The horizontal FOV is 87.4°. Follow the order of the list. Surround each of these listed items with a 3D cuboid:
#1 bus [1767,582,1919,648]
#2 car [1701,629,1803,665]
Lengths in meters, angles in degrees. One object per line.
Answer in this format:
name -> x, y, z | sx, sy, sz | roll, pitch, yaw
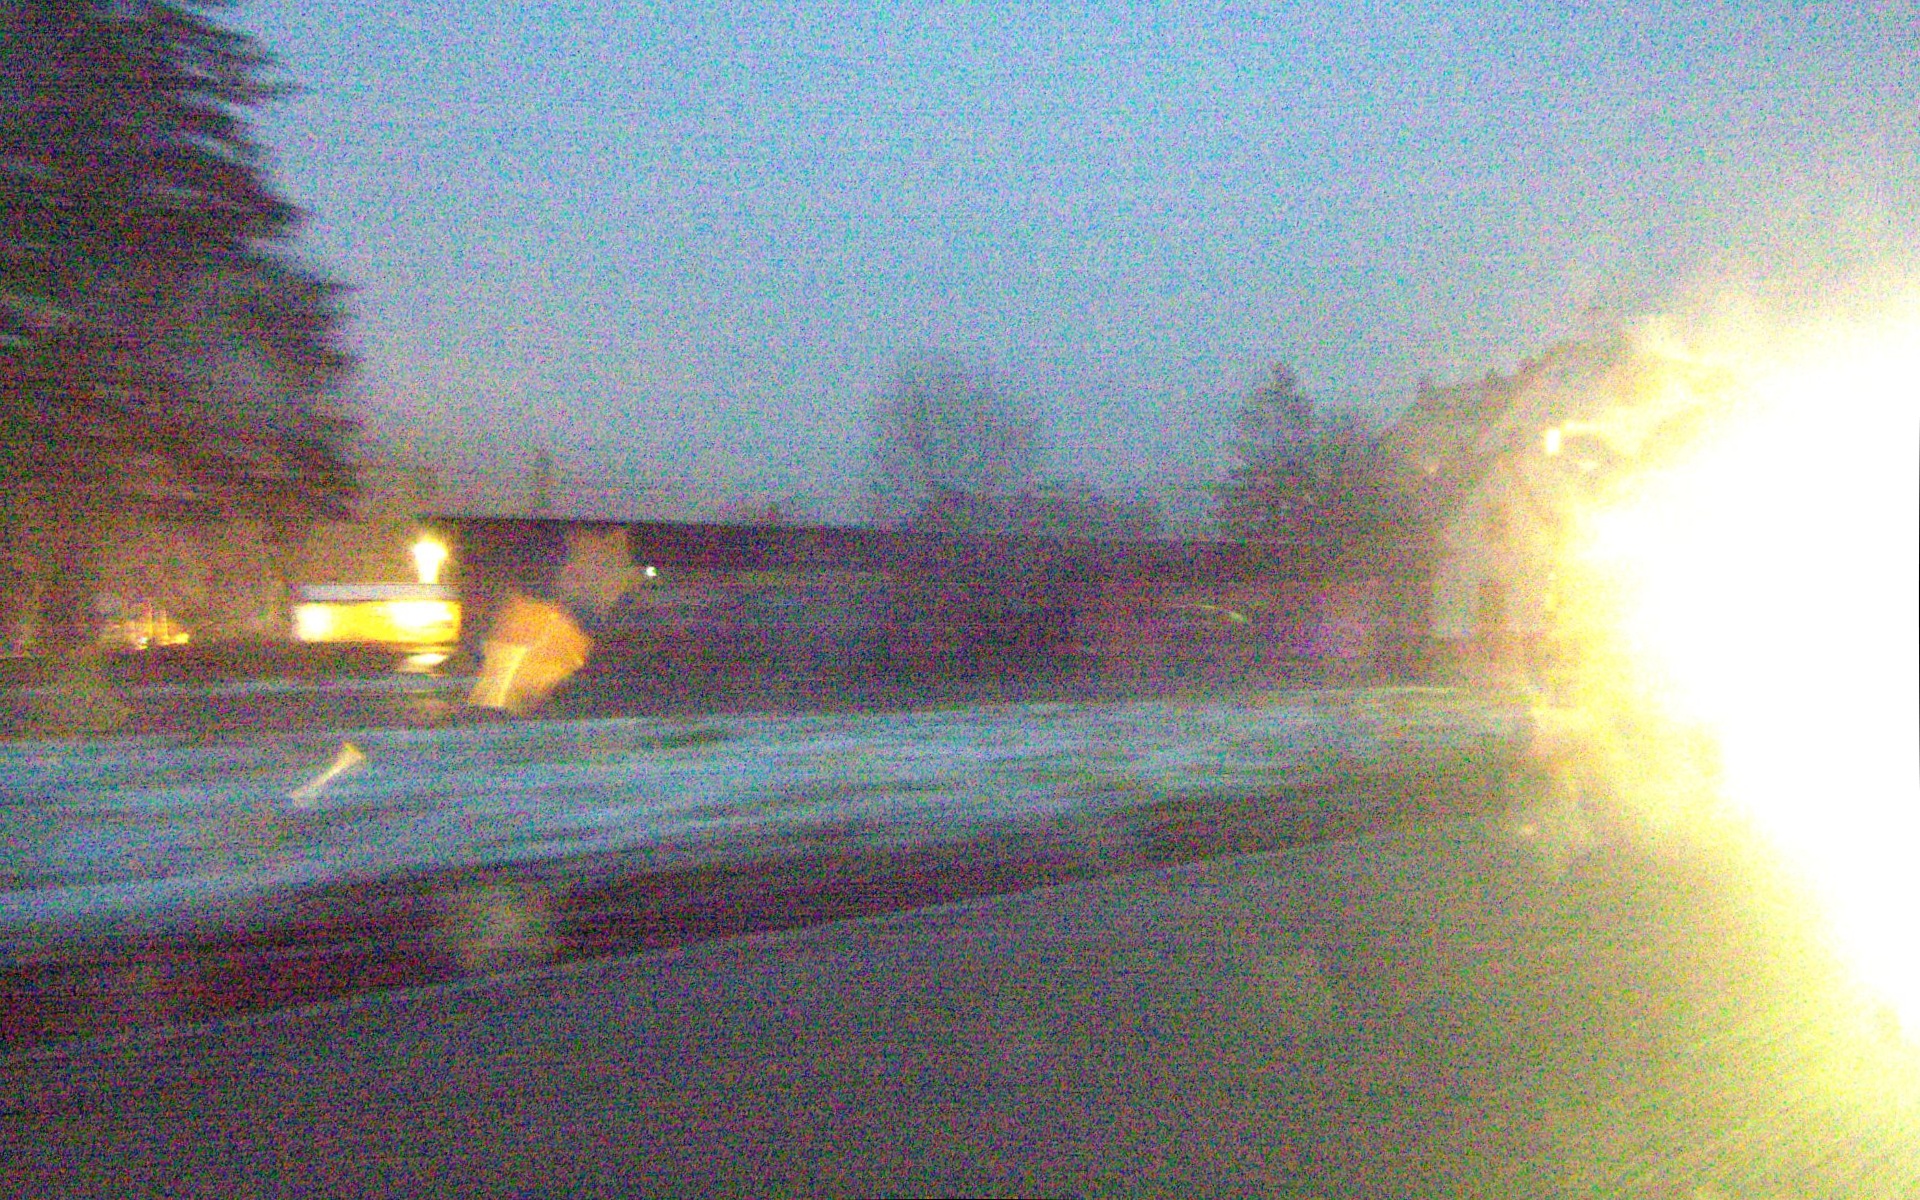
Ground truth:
bus -> 57.916, 0.910, 66.363 | 2.845, 3.920, 13.059 | 1, 0, 19
car -> 33.505, 1.987, 42.468 | 4.093, 1.416, 1.684 | 0, -2, -25
